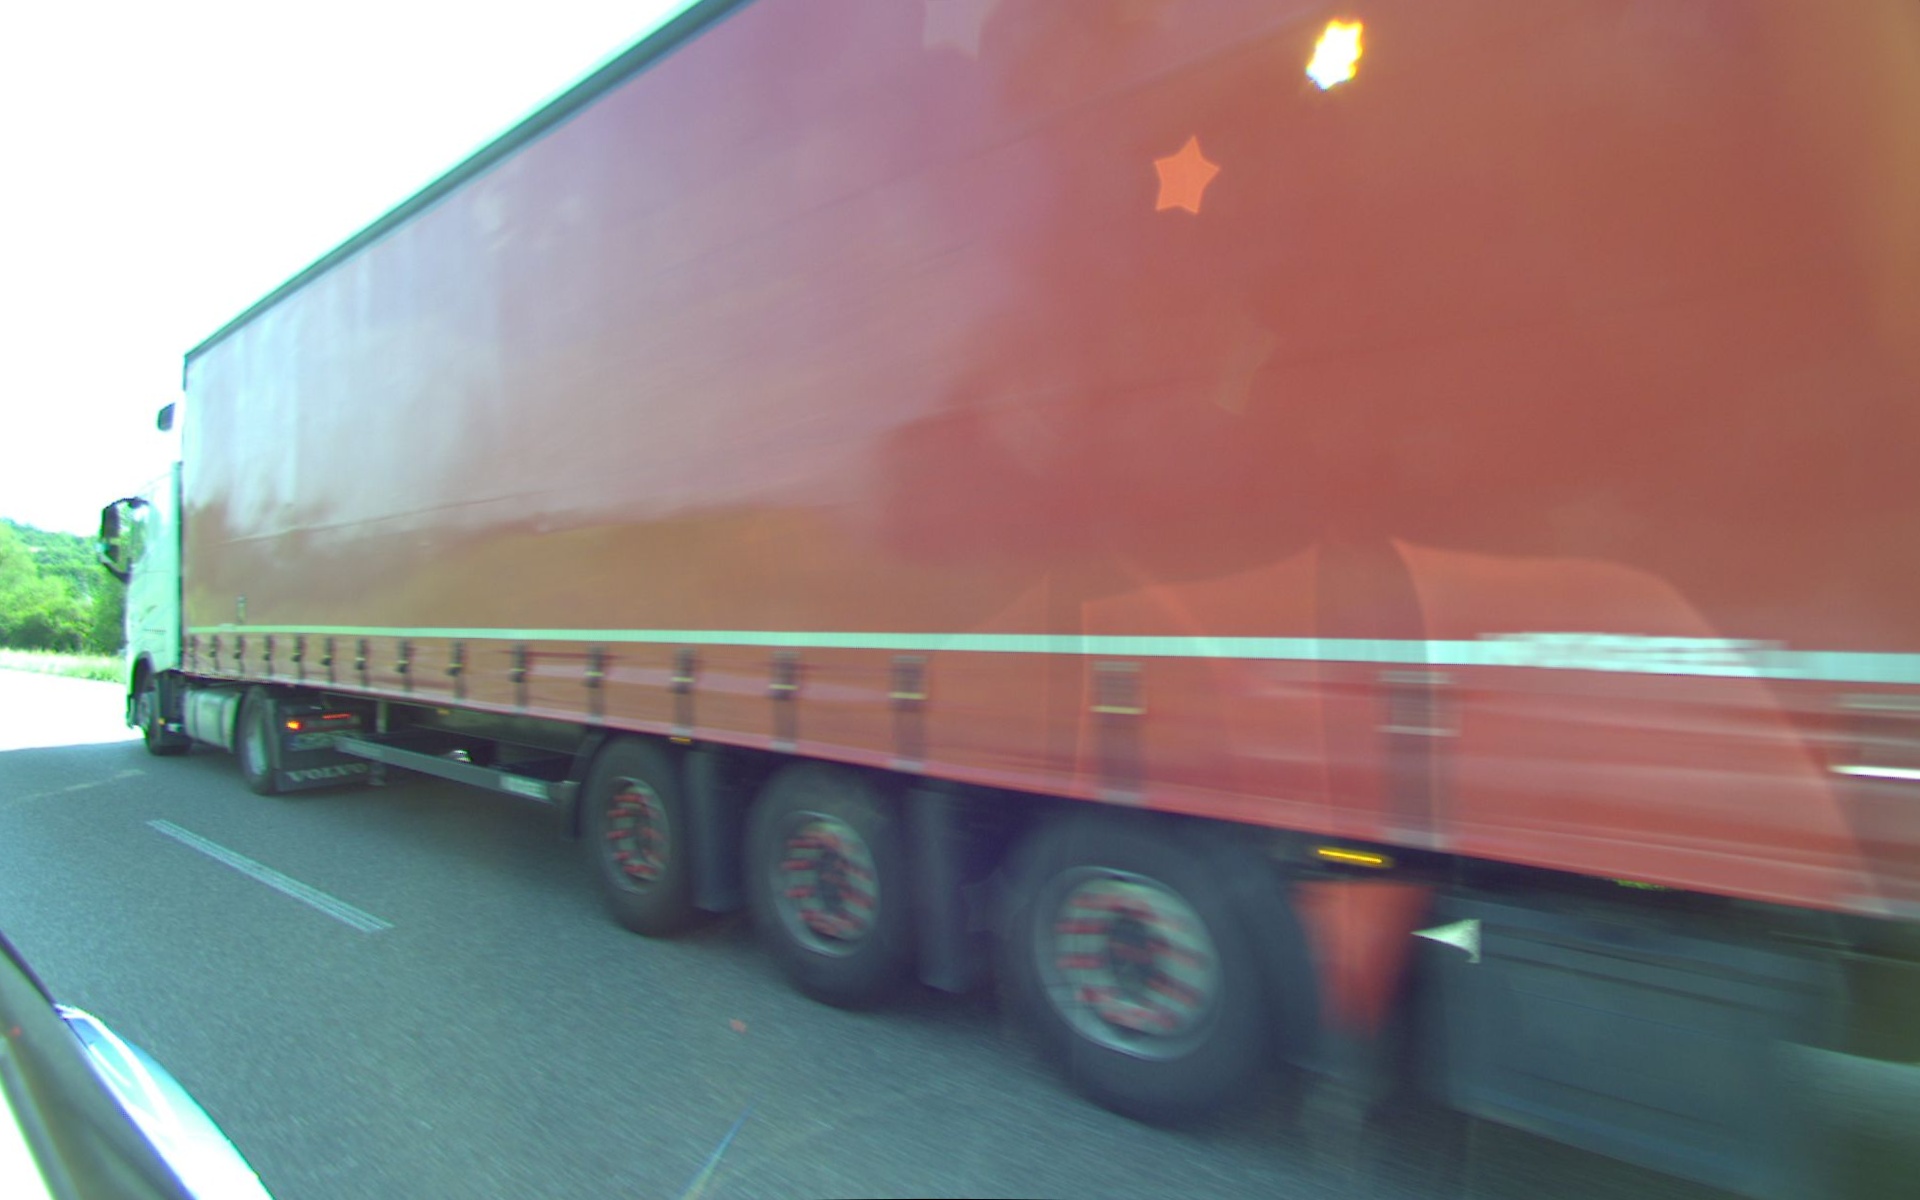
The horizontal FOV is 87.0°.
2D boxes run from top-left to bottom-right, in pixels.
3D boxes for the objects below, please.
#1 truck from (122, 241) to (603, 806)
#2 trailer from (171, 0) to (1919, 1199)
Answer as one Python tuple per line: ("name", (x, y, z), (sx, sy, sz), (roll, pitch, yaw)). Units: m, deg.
("truck", (-6.289, -0.504, 10.287), (5.797, 4.147, 2.532), (-1, -2, 41))
("trailer", (-1.674, -0.616, 6.229), (13.656, 4.139, 2.541), (-1, -2, 42))
